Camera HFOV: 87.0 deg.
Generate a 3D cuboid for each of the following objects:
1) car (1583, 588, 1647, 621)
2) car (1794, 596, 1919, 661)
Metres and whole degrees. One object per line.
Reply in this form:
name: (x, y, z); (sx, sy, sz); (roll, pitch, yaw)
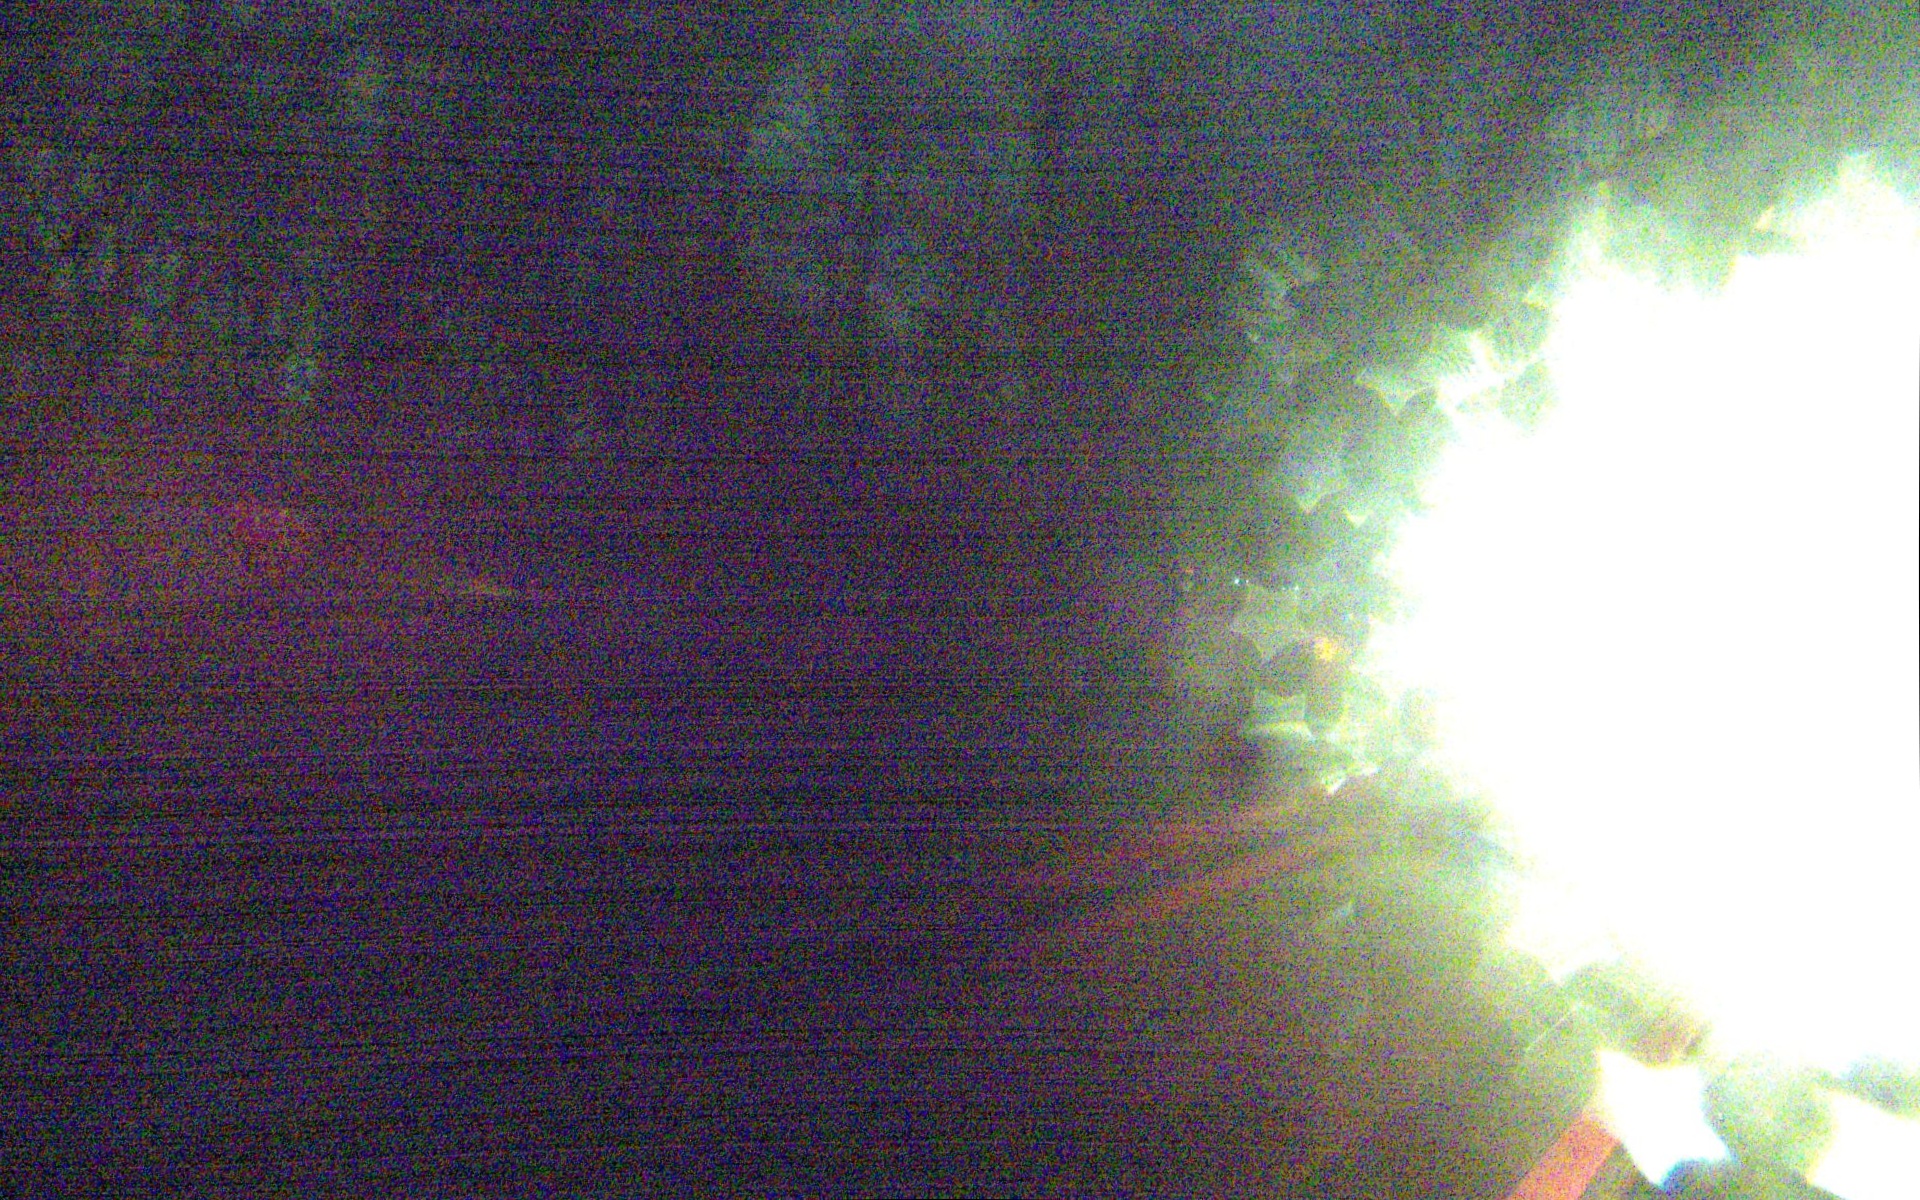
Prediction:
car: (31.668, 0.269, 49.032); (1.828, 1.468, 3.845); (-2, -2, 22)
car: (22.391, 0.641, 25.416); (1.838, 1.467, 3.952); (0, 1, 34)
